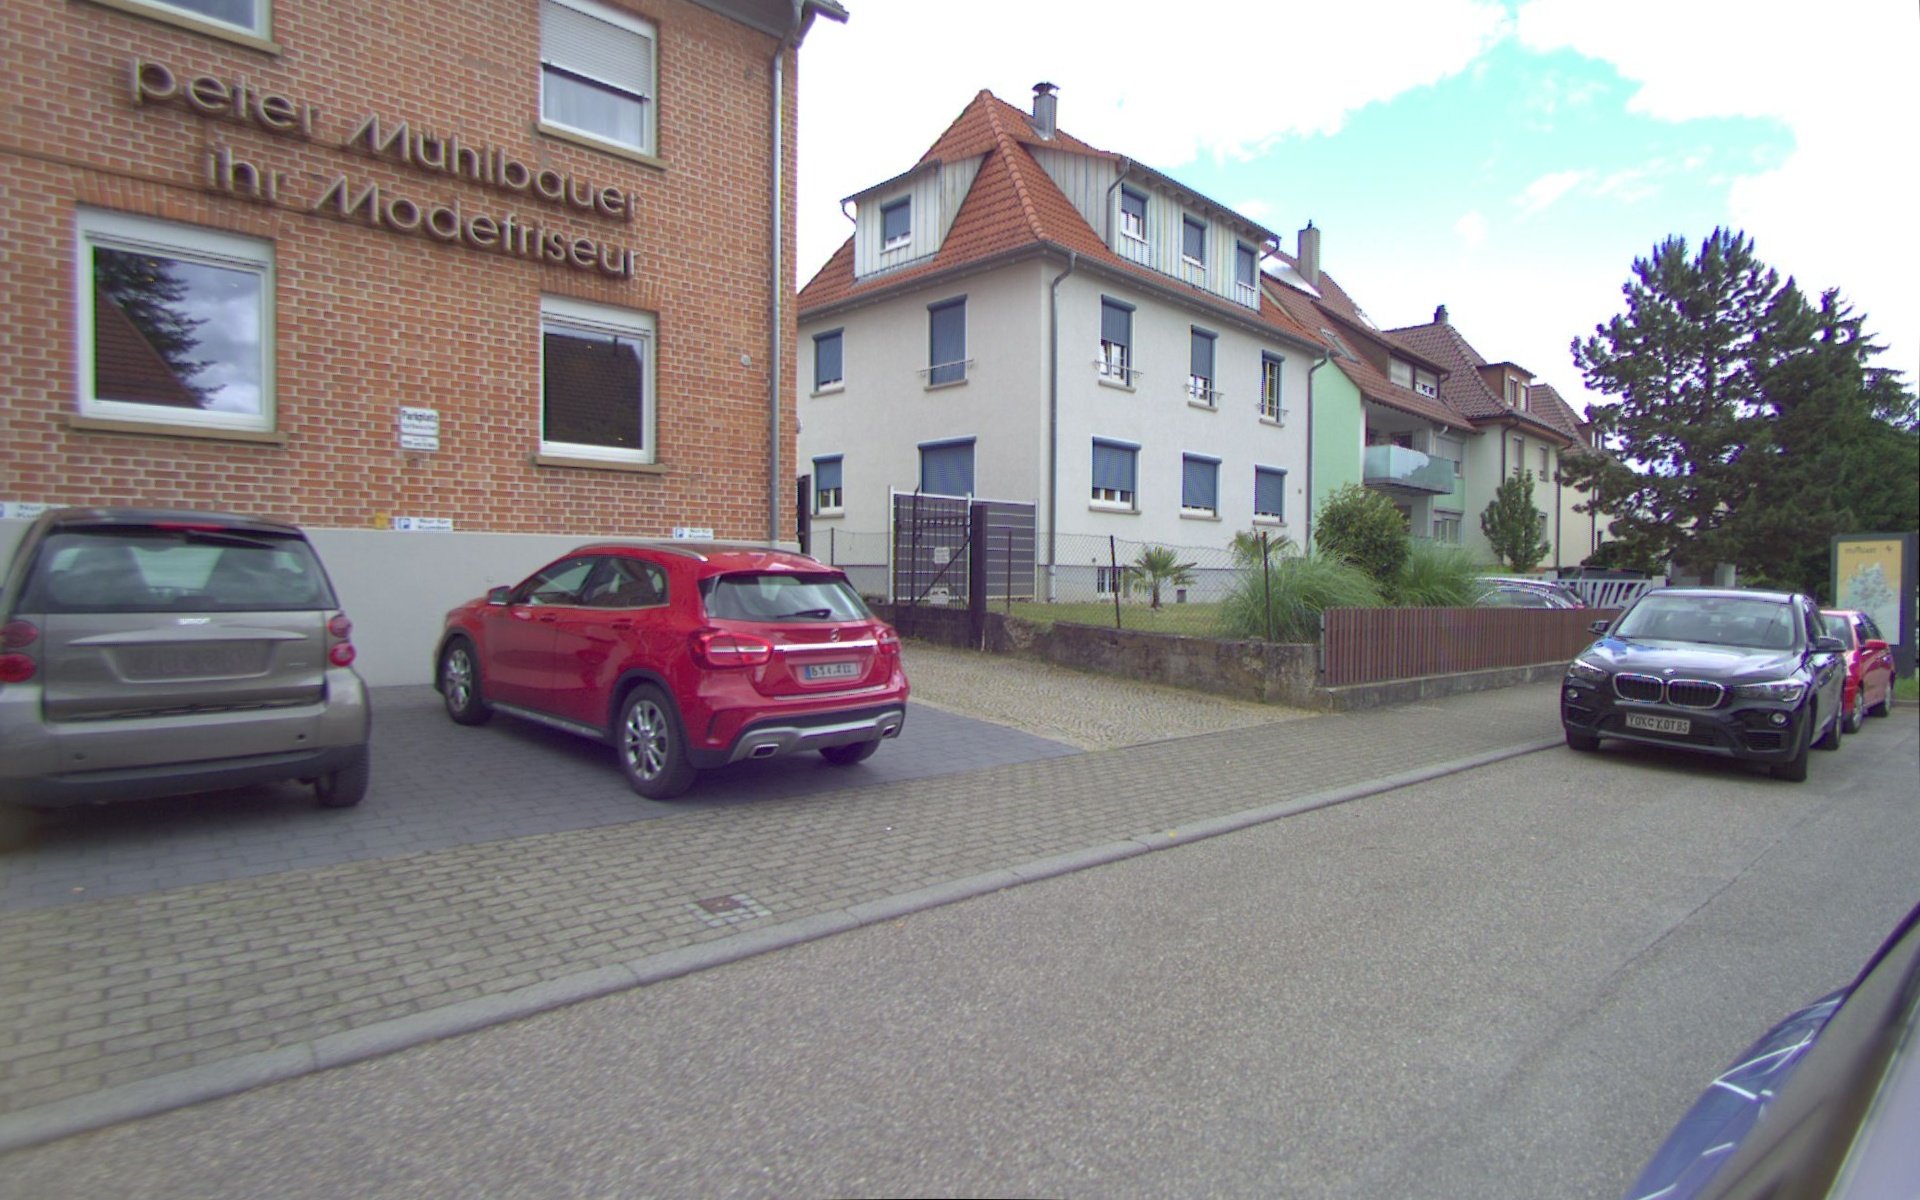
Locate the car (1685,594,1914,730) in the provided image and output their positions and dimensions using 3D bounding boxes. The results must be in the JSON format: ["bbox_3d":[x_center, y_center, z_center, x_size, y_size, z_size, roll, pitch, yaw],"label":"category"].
[{"bbox_3d":[10.731,0.670,12.862,3.620,1.440,1.679,0,2,-41],"label":"car"}]

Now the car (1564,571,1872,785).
[{"bbox_3d":[7.531,0.586,9.897,4.088,1.611,1.726,0,3,-44],"label":"car"}]

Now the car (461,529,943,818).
[{"bbox_3d":[-1.954,0.315,7.200,3.351,1.477,1.723,5,4,42],"label":"car"}]

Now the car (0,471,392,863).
[{"bbox_3d":[-4.729,0.153,5.925,3.354,1.653,1.555,6,4,44],"label":"car"}]
